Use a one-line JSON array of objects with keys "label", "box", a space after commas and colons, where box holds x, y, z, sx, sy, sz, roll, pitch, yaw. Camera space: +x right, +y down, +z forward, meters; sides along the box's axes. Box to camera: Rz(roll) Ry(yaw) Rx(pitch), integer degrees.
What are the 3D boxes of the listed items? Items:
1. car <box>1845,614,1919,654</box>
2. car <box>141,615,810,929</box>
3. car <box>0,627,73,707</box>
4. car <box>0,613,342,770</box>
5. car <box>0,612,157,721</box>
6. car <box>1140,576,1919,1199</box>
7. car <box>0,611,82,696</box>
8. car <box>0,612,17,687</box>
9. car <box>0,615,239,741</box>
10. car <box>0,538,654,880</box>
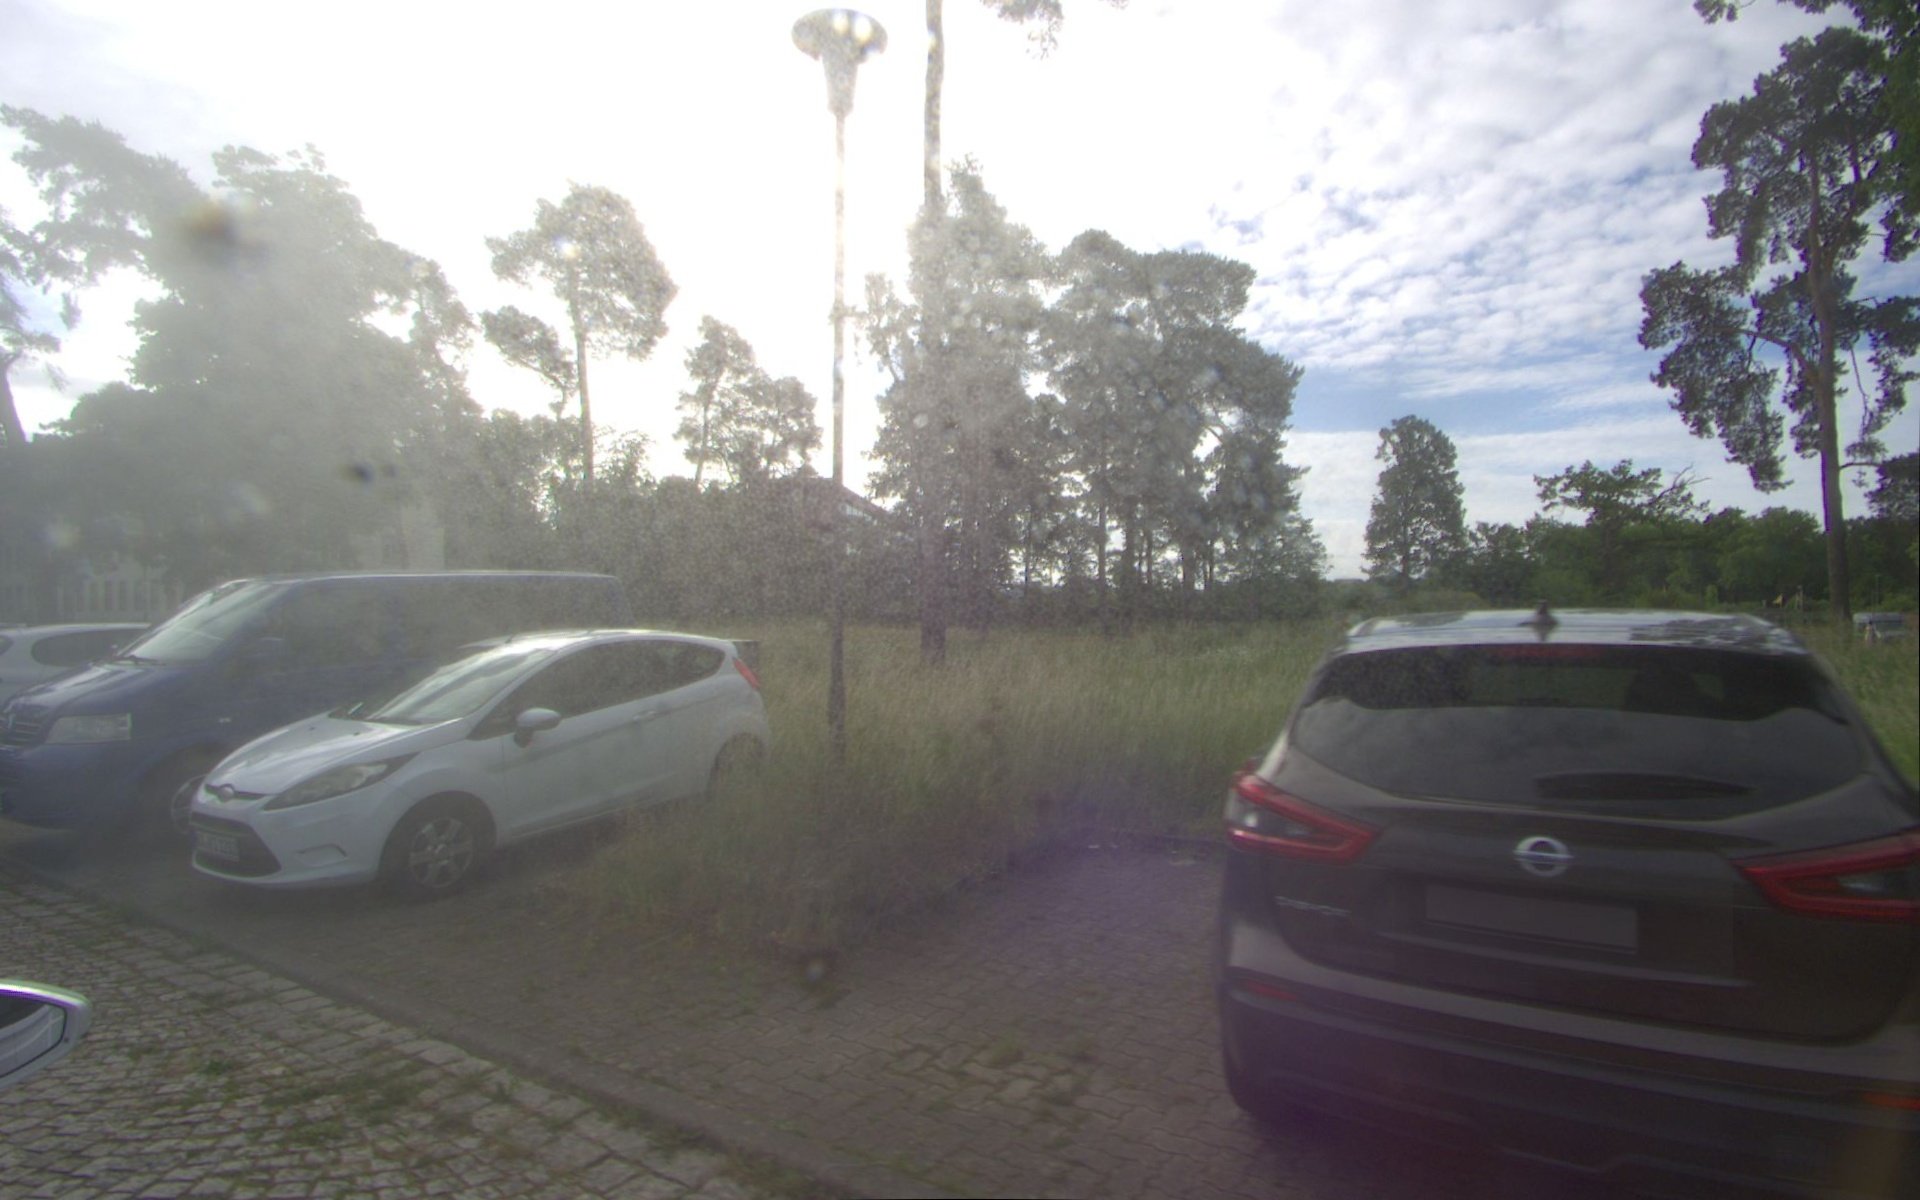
[{"label": "car", "box": [64.830, 2.386, 70.219, 2.238, 2.674, 5.673, 0, -2, 20]}, {"label": "car", "box": [-3.012, 0.887, 7.169, 1.695, 1.498, 4.092, 0, 0, 29]}, {"label": "car", "box": [-16.527, 1.095, 15.746, 1.606, 1.239, 3.578, 0, 0, 34]}, {"label": "car", "box": [-9.442, 0.923, 11.460, 1.740, 1.498, 3.646, 0, 0, 32]}, {"label": "car", "box": [-14.182, 0.949, 14.611, 1.718, 1.507, 3.498, 0, 0, 32]}, {"label": "car", "box": [2.338, 0.770, 3.880, 1.924, 1.616, 4.197, 0, 0, 30]}, {"label": "car", "box": [-18.196, 0.948, 17.424, 1.660, 1.496, 4.098, 0, 0, 31]}, {"label": "car", "box": [-20.369, 0.975, 18.345, 1.727, 1.456, 4.185, 0, 0, 25]}, {"label": "car", "box": [-11.971, 0.954, 12.817, 1.740, 1.466, 4.121, 0, 0, 33]}, {"label": "car", "box": [-5.120, 0.654, 8.500, 1.937, 2.030, 4.788, 0, 0, 30]}]
